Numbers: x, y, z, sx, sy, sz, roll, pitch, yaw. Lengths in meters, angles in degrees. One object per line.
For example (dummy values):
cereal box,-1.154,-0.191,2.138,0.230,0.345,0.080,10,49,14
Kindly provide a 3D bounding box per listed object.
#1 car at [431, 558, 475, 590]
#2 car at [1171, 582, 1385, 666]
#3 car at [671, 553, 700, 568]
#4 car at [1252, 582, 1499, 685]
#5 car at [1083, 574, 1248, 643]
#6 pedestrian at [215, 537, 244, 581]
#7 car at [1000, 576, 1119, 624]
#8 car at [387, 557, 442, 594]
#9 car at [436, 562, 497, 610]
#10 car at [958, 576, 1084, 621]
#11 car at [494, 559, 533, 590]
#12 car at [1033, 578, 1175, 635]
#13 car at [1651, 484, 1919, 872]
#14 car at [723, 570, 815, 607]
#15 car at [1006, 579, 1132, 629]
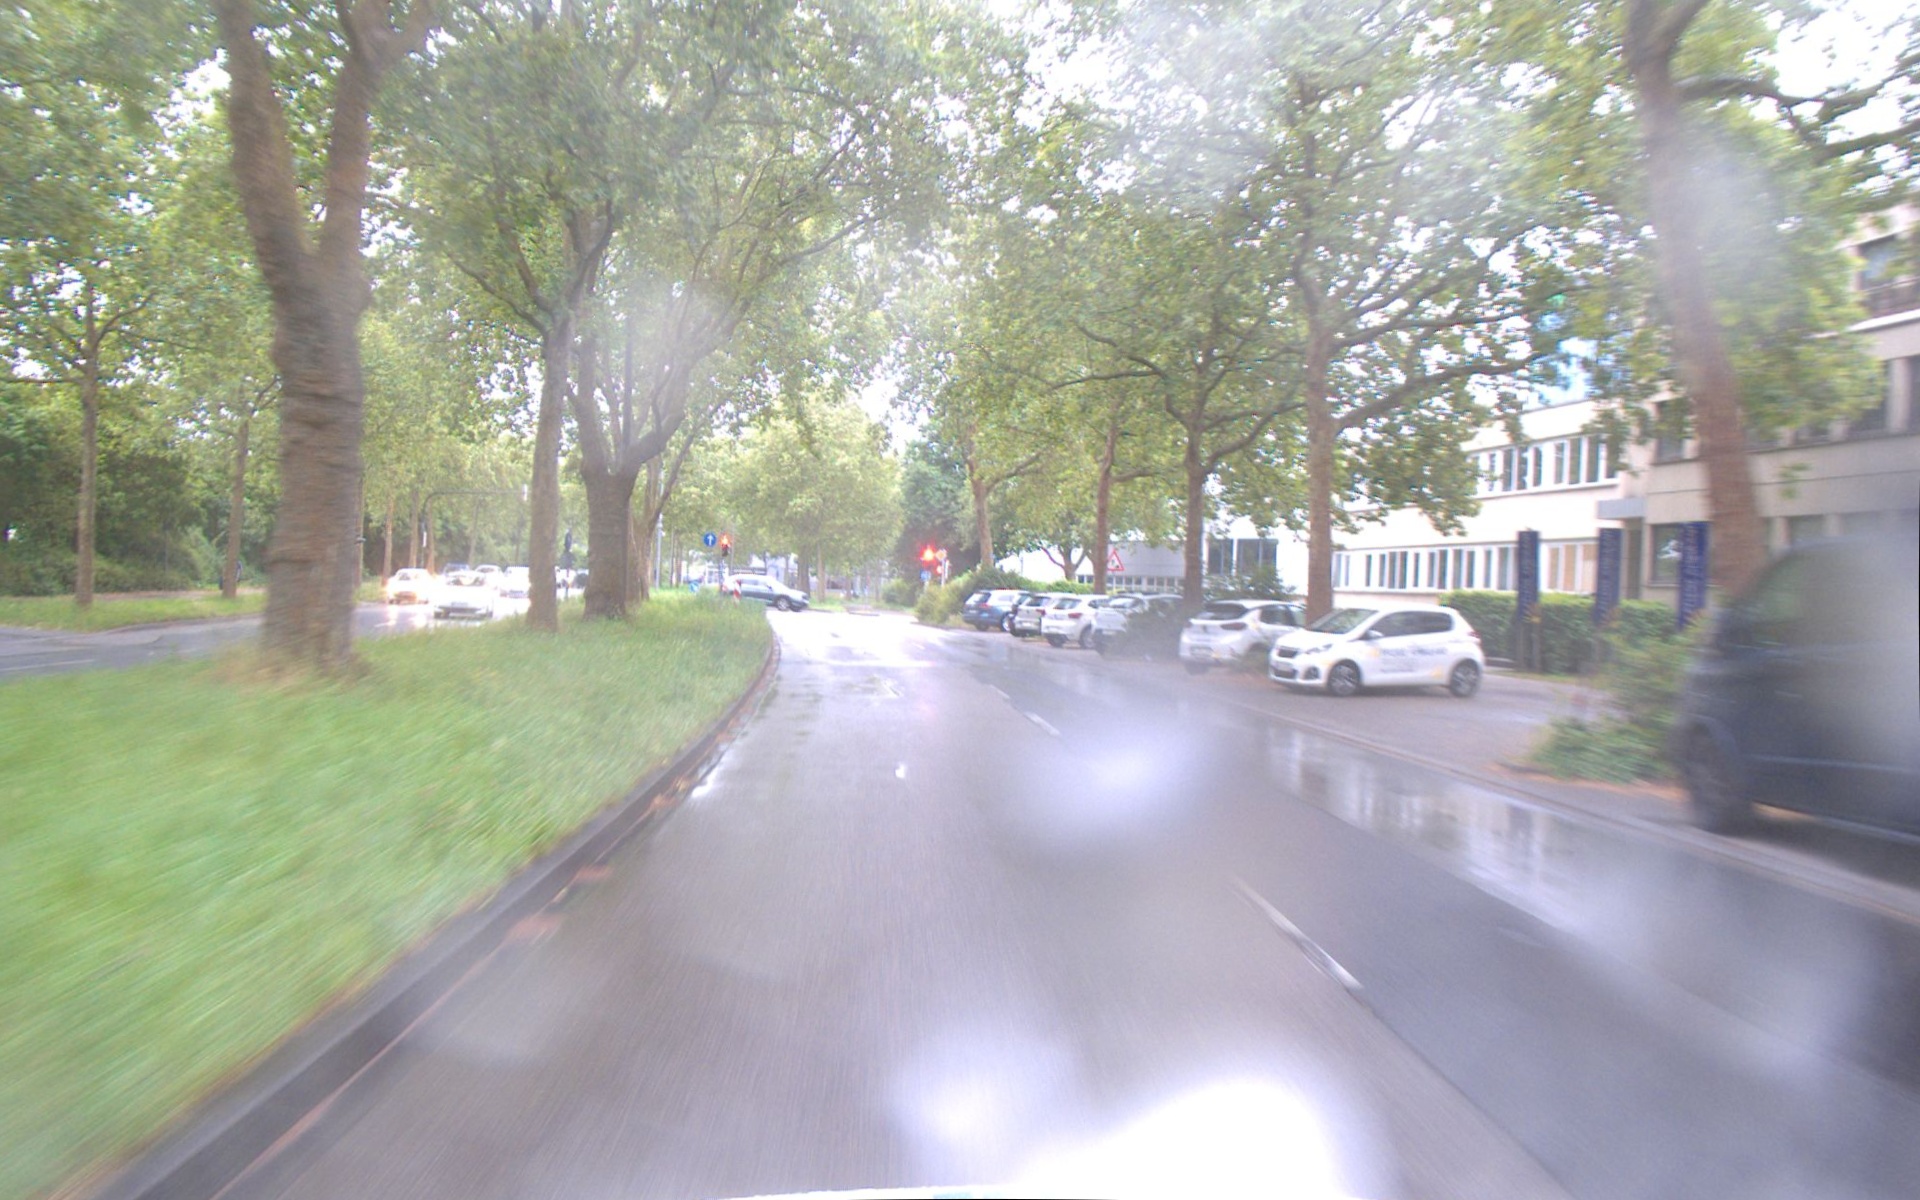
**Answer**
car,-27.647,-1.436,90.336,1.712,1.619,4.200,2,1,-10
car,6.077,0.469,31.409,3.993,1.453,1.727,2,1,-37
car,-41.250,-5.884,248.609,3.927,2.049,1.989,3,-1,-20
car,6.835,0.548,27.282,3.582,1.530,1.739,1,2,-21
car,5.102,0.228,40.907,3.997,1.566,1.726,2,1,-38
pedestrian,-29.114,-1.619,65.906,0.816,1.703,0.897,2,1,-12
car,3.311,0.011,54.804,3.652,1.441,1.727,2,1,-37
car,-23.814,-1.074,72.333,1.712,1.502,4.072,2,1,-11
car,-17.069,-0.517,57.347,1.713,1.502,4.395,2,1,-13
car,2.253,-0.054,60.513,4.439,1.484,1.730,2,1,-33
car,-24.215,-1.406,89.810,1.712,1.619,4.318,2,1,-12
car,4.019,0.182,46.012,3.646,1.441,1.730,2,1,-33
car,6.154,0.440,9.305,2.078,2.063,5.527,2,1,-1
car,-9.620,-0.590,83.345,4.200,1.679,1.751,2,1,11
car,3.422,0.129,51.523,3.653,1.441,1.753,2,1,-37
